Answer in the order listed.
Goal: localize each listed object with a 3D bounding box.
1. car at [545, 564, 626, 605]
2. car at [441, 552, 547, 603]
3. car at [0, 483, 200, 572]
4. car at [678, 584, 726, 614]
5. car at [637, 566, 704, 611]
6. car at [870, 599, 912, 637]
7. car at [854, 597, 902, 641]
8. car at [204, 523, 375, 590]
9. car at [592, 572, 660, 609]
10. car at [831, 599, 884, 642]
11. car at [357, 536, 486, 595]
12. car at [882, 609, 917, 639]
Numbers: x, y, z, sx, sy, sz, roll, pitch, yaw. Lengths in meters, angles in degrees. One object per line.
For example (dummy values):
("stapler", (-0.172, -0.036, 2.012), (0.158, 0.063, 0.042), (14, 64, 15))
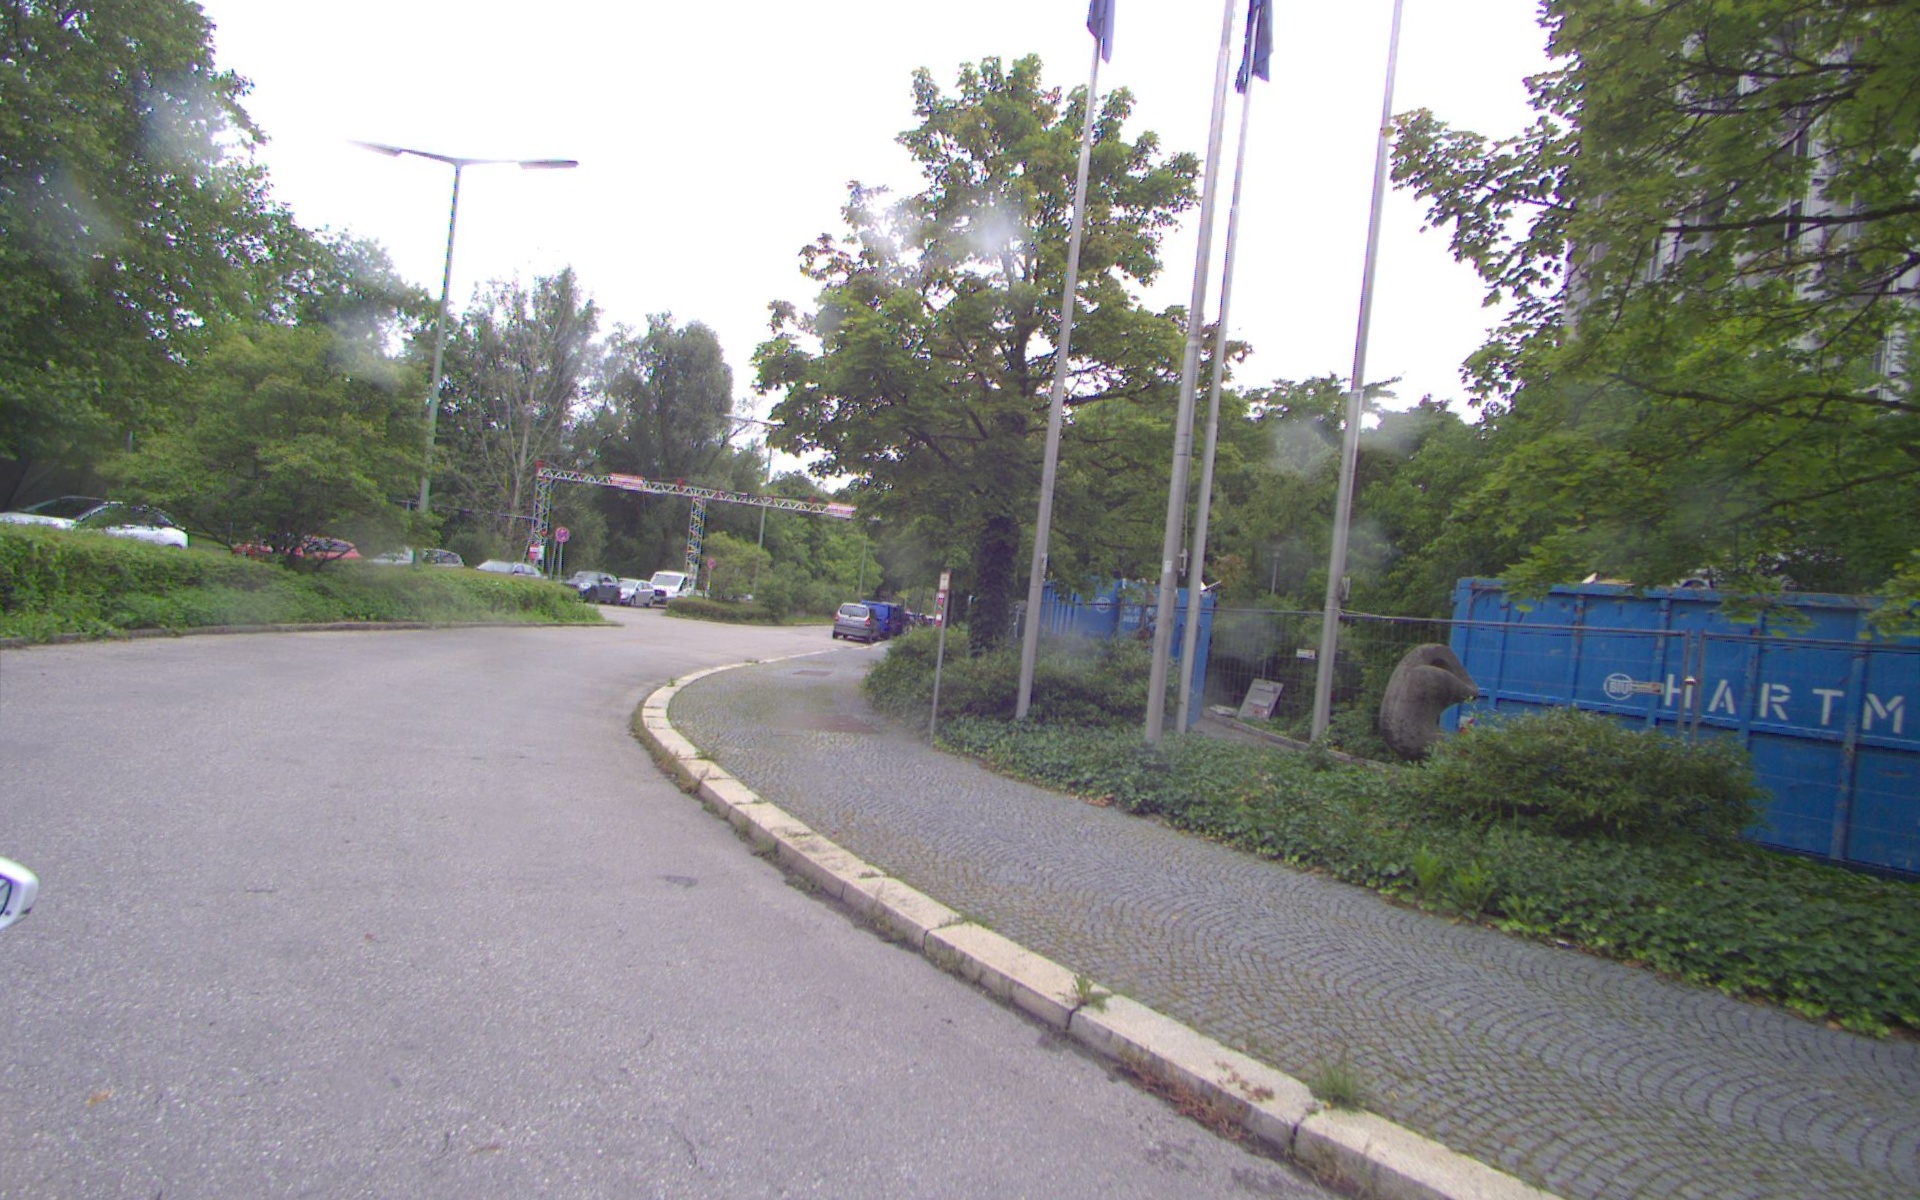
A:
("car", (-17.878, -0.698, 48.260), (1.962, 1.593, 4.003), (7, -1, 5))
("car", (-18.556, -0.853, 40.296), (1.962, 1.593, 4.003), (7, -1, 5))
("car", (-19.982, -1.627, 22.925), (1.962, 1.526, 4.003), (7, -1, 5))
("car", (-16.396, -0.021, 64.090), (1.701, 1.631, 4.002), (7, -1, 2))
("car", (-16.962, -0.614, 59.255), (2.165, 2.254, 4.872), (7, -1, 3))
("car", (-3.885, 1.060, 57.364), (1.701, 1.913, 4.329), (7, -1, 3))
("car", (-4.056, 0.967, 50.523), (1.701, 1.913, 4.329), (7, -1, 3))
("car", (-19.343, -1.195, 29.268), (1.962, 1.426, 4.003), (7, -1, 5))
("car", (-17.645, -0.468, 53.298), (1.962, 1.593, 4.002), (7, -1, 3))
("car", (-4.547, 0.910, 45.120), (1.701, 1.631, 4.001), (7, -1, 1))
("car", (-18.756, -1.162, 35.258), (1.962, 1.593, 4.003), (7, -1, 5))
("car", (-3.765, 1.474, 62.827), (1.701, 1.631, 4.001), (7, -1, 1))
